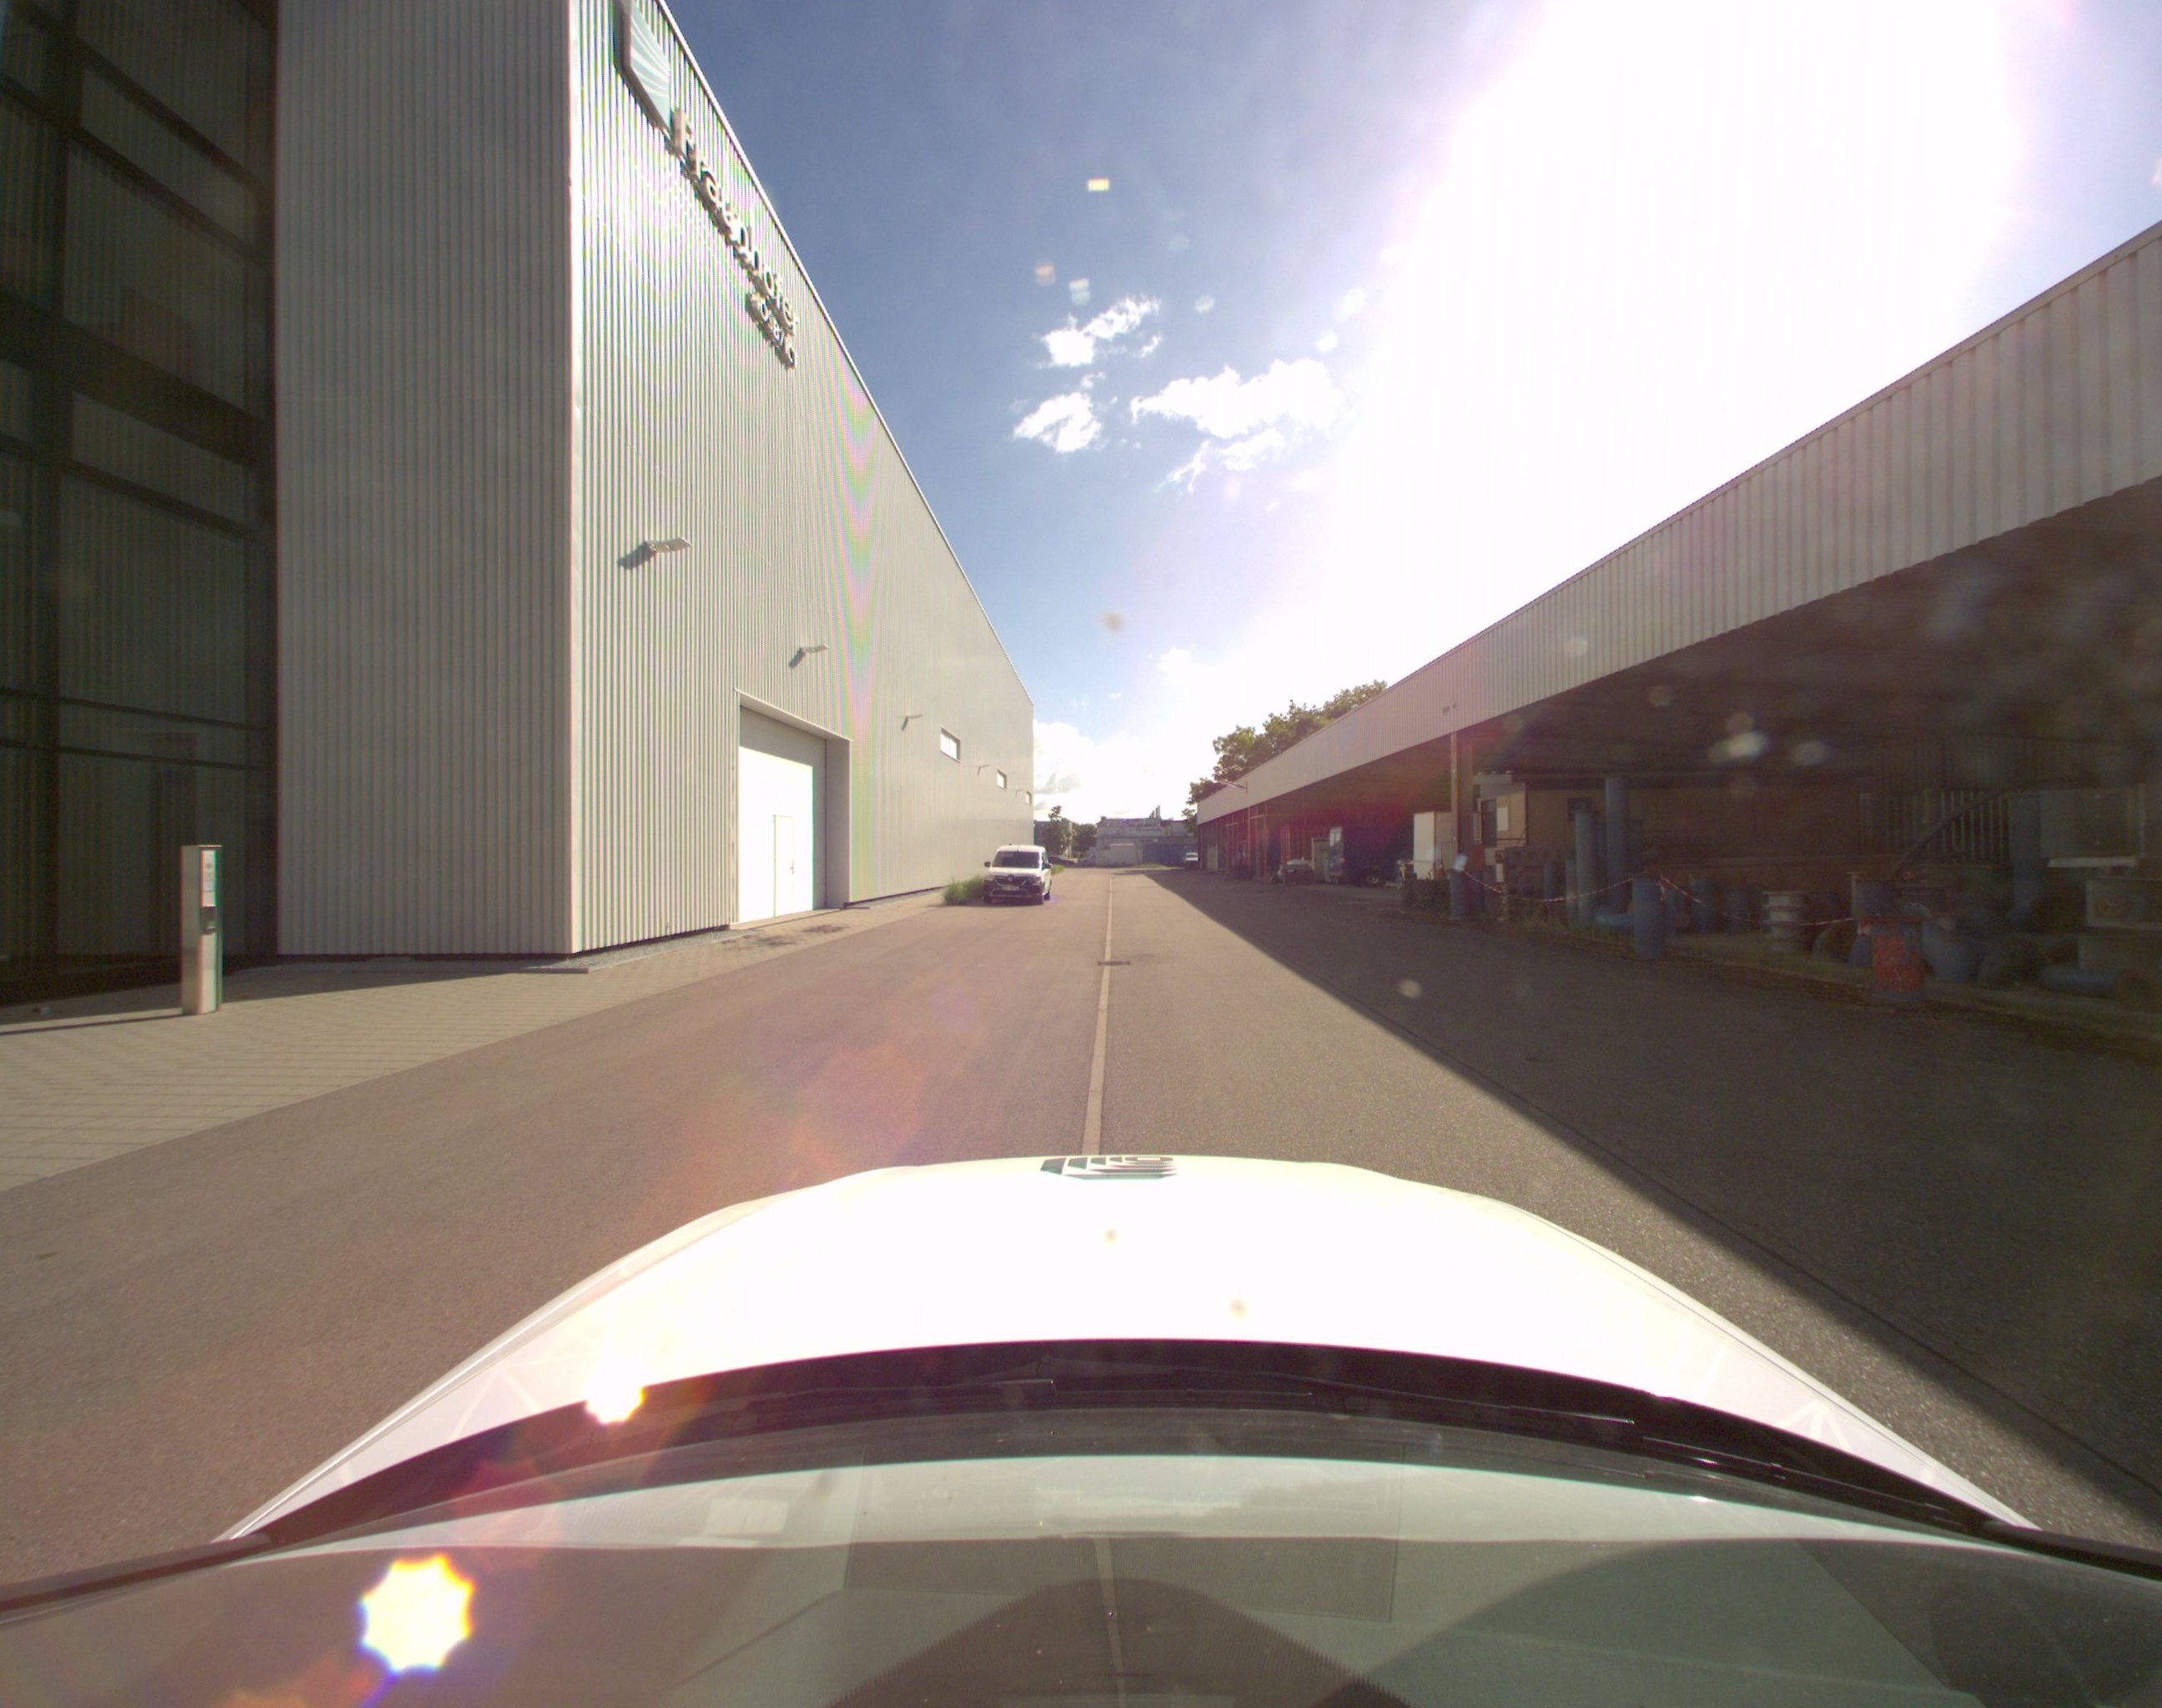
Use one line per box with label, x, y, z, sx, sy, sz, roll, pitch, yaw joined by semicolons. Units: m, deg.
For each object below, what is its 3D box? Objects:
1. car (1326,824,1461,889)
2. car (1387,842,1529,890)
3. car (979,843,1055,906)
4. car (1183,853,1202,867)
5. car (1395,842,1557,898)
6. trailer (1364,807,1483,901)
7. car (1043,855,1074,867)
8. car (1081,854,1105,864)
car;11.691;0.111;30.695;4.414;2.310;1.917;1;-2;3
car;12.677;0.428;27.566;4.021;1.525;1.685;1;-2;3
car;-1.915;0.587;25.745;1.811;1.787;4.408;1;0;3
car;12.987;0.669;95.187;1.953;1.564;4.063;1;0;4
car;11.621;0.487;24.169;4.021;1.525;1.685;1;-2;3
trailer;9.175;0.022;21.973;2.513;2.399;1.728;-1;-1;3
car;-2.953;0.940;108.063;3.973;1.598;1.741;1;-2;1
car;1.958;0.859;135.831;3.973;1.598;1.848;1;-2;1
